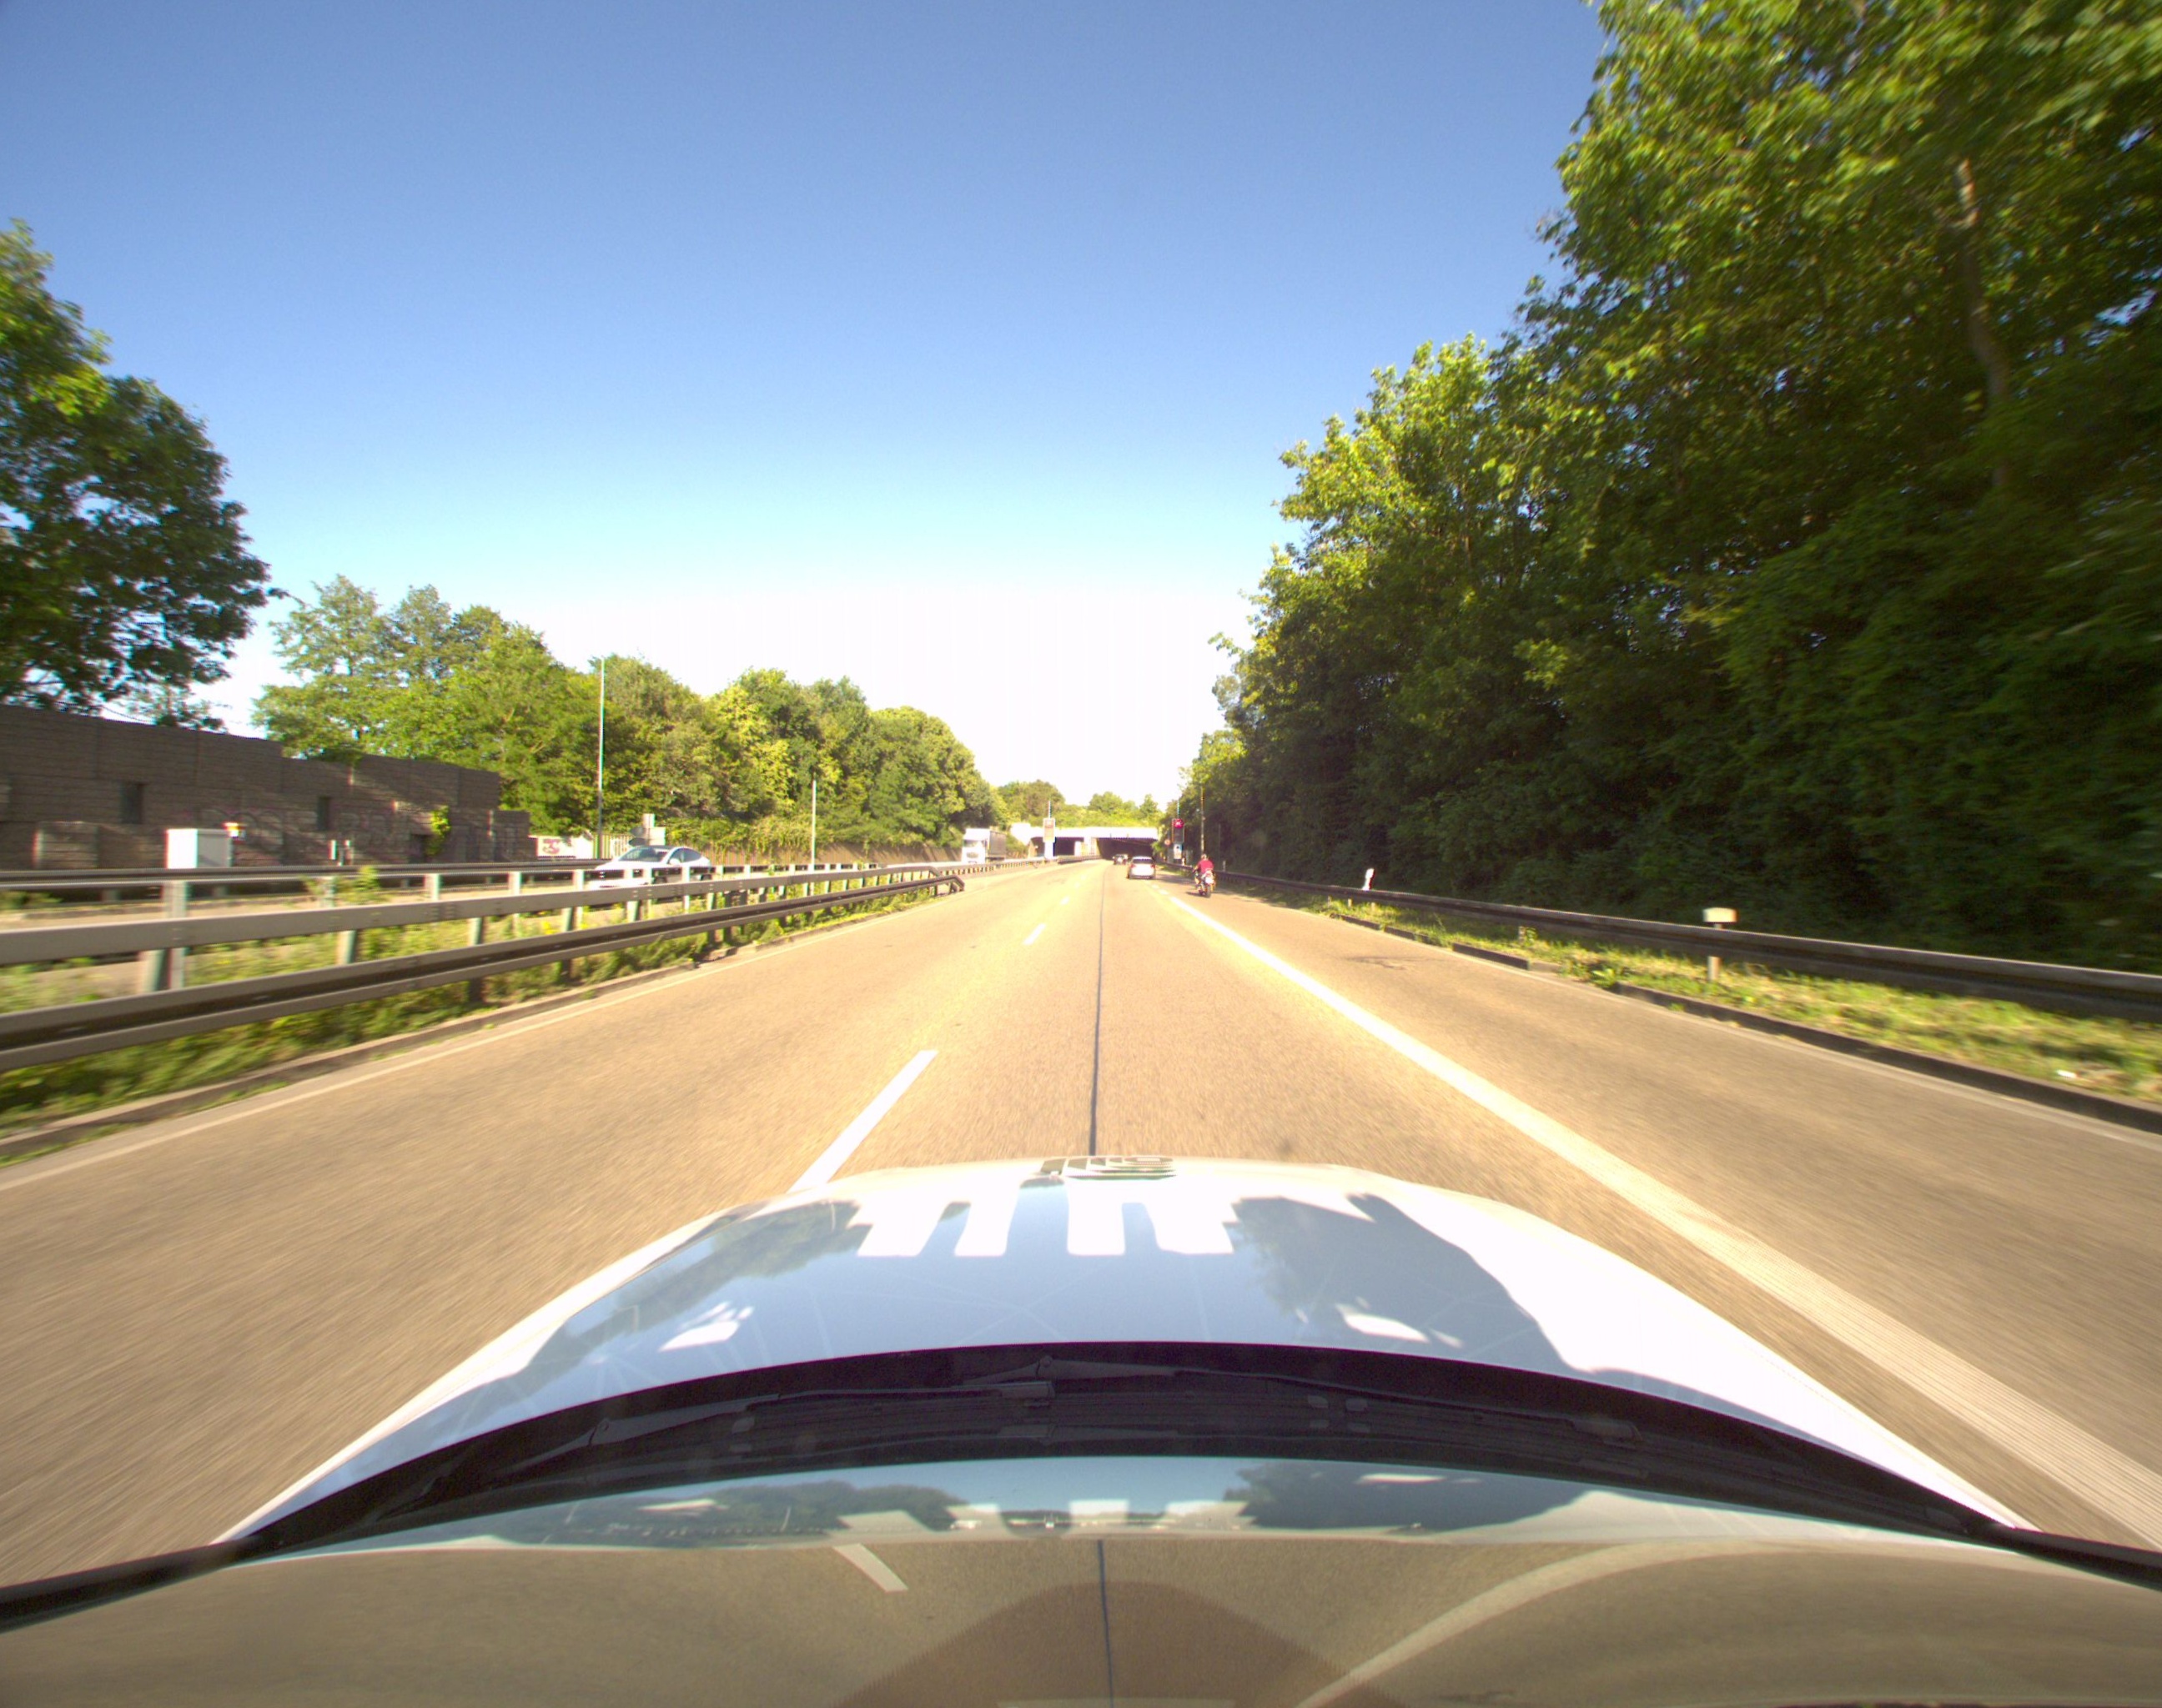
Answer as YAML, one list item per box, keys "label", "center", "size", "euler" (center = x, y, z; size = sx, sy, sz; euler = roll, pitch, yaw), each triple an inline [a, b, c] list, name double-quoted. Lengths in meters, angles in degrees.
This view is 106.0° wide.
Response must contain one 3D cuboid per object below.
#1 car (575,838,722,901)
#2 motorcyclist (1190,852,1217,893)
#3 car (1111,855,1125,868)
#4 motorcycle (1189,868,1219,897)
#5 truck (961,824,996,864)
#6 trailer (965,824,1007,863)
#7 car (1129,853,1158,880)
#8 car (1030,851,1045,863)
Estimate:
- label: "car"
  center: [-13.772, 0.426, 26.313]
  size: [1.986, 1.782, 4.787]
  euler: [3, 1, 2]
- label: "motorcyclist"
  center: [4.714, 0.692, 31.414]
  size: [0.879, 1.501, 1.064]
  euler: [3, 1, 3]
- label: "car"
  center: [5.414, 1.080, 119.698]
  size: [1.986, 1.925, 4.001]
  euler: [1, 0, 1]
- label: "motorcycle"
  center: [4.722, 1.084, 31.418]
  size: [0.855, 0.991, 2.730]
  euler: [2, 0, 3]
- label: "truck"
  center: [-11.564, -1.154, 92.484]
  size: [2.725, 4.261, 6.391]
  euler: [3, 1, 2]
- label: "trailer"
  center: [-11.355, -1.298, 98.829]
  size: [2.737, 4.279, 14.093]
  euler: [3, 1, 2]
- label: "car"
  center: [4.062, 0.778, 53.446]
  size: [1.660, 1.552, 4.003]
  euler: [3, 1, 2]
- label: "car"
  center: [-6.728, 0.390, 126.470]
  size: [1.986, 1.658, 4.940]
  euler: [3, 1, 1]
